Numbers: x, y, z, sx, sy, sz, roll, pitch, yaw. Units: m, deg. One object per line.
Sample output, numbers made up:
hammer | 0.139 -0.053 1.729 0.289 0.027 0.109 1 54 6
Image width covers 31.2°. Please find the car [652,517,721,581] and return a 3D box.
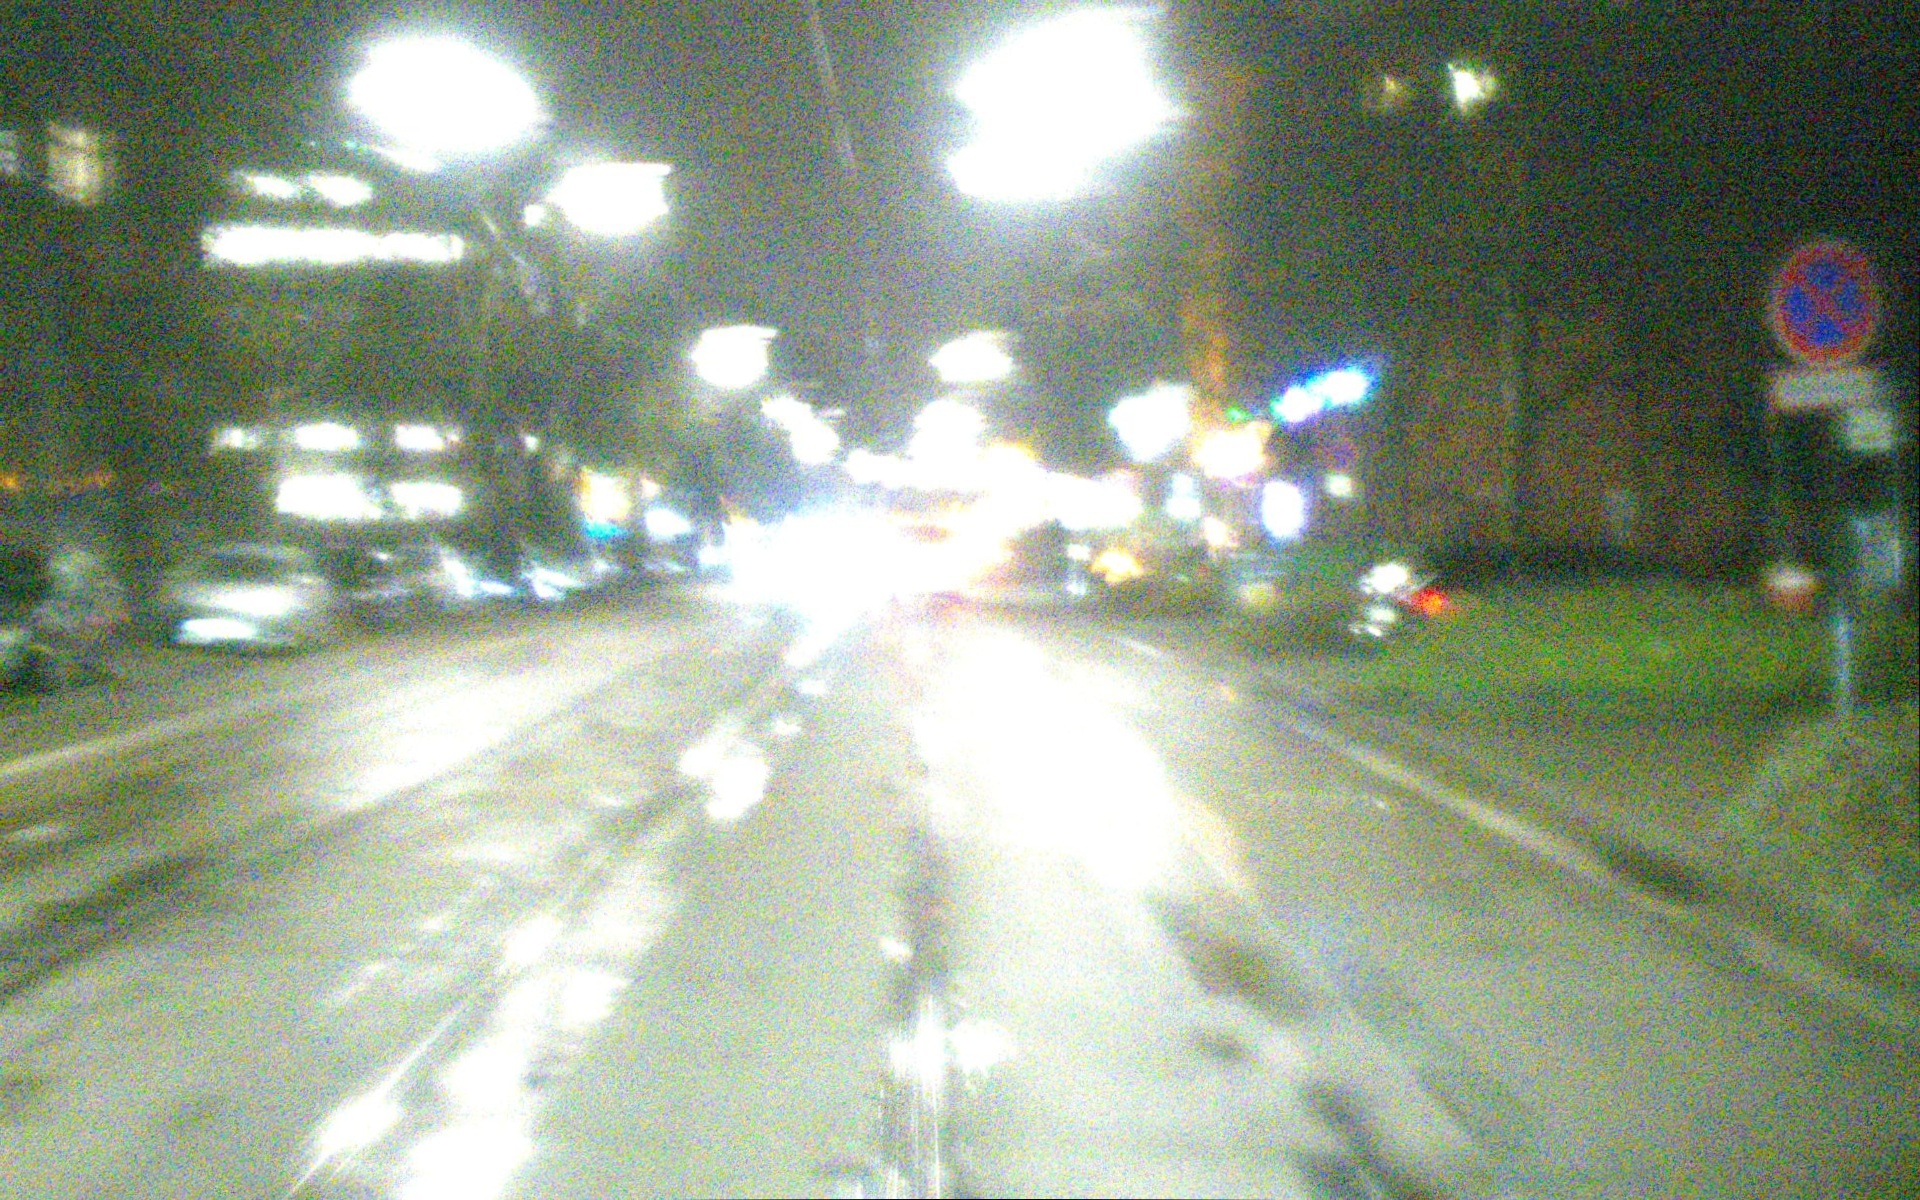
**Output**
car | -11.354 -2.165 142.957 2.185 2.583 6.392 1 1 1

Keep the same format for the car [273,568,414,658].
car | -10.154 0.182 56.905 1.839 1.418 4.210 0 1 -4

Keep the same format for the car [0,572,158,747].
car | -9.937 0.550 35.753 2.143 1.614 4.589 3 0 -1

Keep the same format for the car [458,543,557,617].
car | -10.440 -0.469 79.515 1.880 1.540 4.400 4 0 -4

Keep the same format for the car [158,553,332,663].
car | -9.812 0.078 47.488 1.773 1.435 4.609 0 1 -4

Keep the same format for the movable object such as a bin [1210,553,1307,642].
movable object such as a bin | 4.799 -0.043 55.390 1.321 1.403 1.160 -1 0 -6

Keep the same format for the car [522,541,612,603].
car | -10.630 -0.773 93.297 1.983 1.625 4.517 1 1 -1

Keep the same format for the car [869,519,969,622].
car | -1.007 -0.701 81.773 2.244 2.353 4.394 1 1 -2

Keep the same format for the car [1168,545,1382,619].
car | 6.725 -0.391 73.385 4.092 1.532 1.961 0 1 -26

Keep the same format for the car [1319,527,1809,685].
car | 6.145 0.031 35.006 4.584 1.470 1.840 -1 1 -20

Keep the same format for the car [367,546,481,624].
car | -10.468 -0.315 67.359 1.887 1.458 4.961 0 1 -5
